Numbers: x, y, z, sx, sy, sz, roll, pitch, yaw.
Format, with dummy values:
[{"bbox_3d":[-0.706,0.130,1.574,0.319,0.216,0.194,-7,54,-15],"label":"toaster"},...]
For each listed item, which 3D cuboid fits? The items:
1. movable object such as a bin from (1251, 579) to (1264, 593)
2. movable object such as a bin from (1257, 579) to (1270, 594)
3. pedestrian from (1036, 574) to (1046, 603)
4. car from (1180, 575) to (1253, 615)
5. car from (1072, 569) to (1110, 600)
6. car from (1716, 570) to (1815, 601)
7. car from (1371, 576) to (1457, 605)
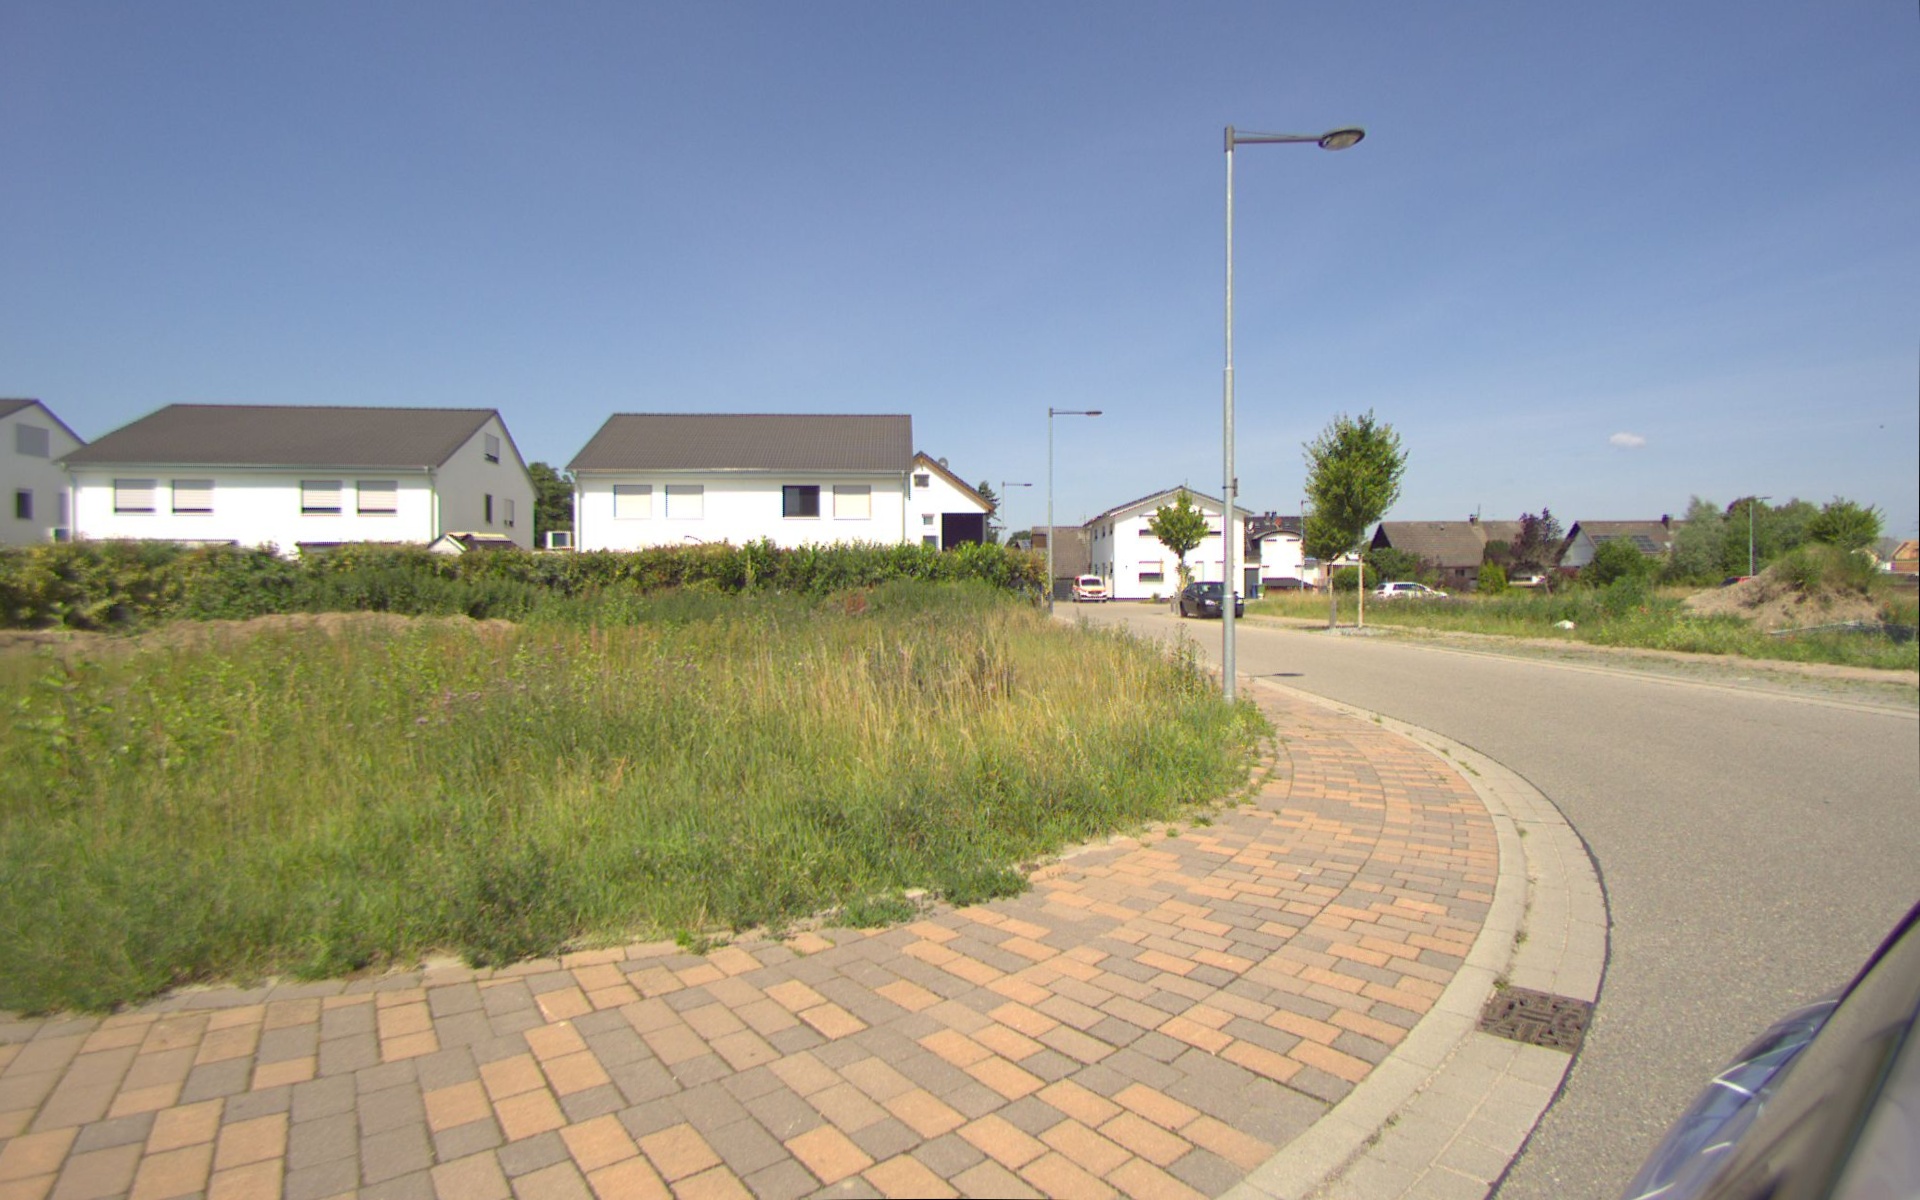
[{"bbox_3d":[21.149,-0.990,71.920,0.673,1.017,0.741,0,1,1],"label":"movable object such as a bin"},{"bbox_3d":[21.302,-0.970,71.099,0.673,1.017,0.741,0,1,1],"label":"movable object such as a bin"},{"bbox_3d":[4.898,-0.727,61.319,0.541,1.741,0.819,0,0,3],"label":"pedestrian"},{"bbox_3d":[10.302,-0.213,40.922,1.783,1.472,4.145,-2,1,-1],"label":"car"},{"bbox_3d":[8.661,-1.037,67.336,1.821,1.909,4.560,-2,1,-1],"label":"car"},{"bbox_3d":[43.842,-0.778,55.130,3.924,1.636,1.809,0,1,1],"label":"car"},{"bbox_3d":[24.998,-0.530,55.787,3.928,1.521,1.808,0,1,5],"label":"car"}]
